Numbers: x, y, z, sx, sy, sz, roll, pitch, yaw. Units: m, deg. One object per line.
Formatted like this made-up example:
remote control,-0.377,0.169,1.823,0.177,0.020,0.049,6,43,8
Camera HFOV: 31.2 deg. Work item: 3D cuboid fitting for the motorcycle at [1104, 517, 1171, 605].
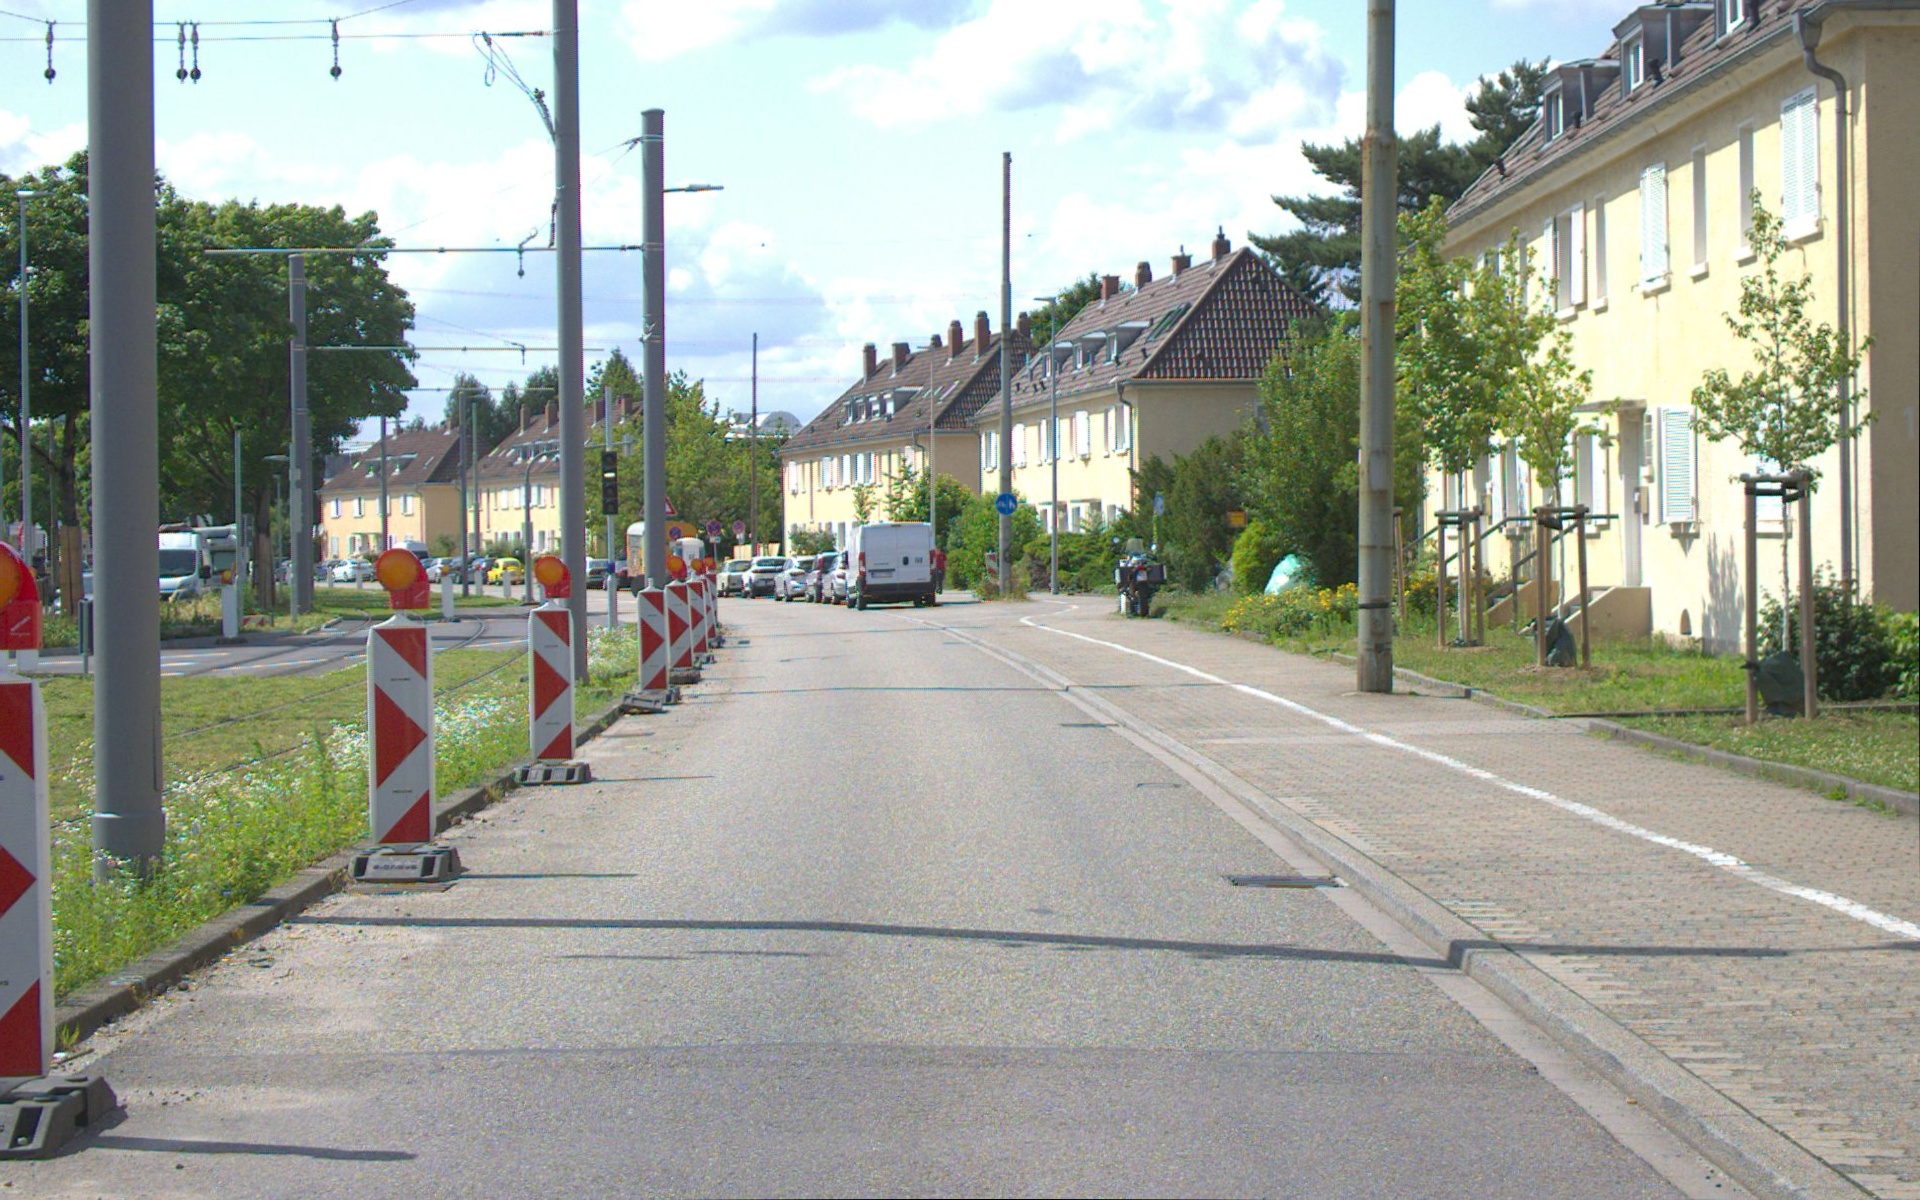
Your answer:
motorcycle,3.340,-0.734,64.915,1.066,1.630,2.084,-1,1,-2

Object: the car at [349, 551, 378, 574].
car,-38.165,-2.400,219.882,1.257,1.421,2.666,-1,1,-23

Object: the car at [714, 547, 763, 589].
car,-8.336,-1.210,129.357,1.567,1.546,3.479,-1,1,-8

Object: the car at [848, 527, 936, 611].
car,-1.830,-0.825,90.870,2.065,2.142,4.879,-1,1,-4

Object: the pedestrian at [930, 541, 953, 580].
pedestrian,-0.619,-1.286,112.493,0.632,1.250,0.727,-1,1,-10

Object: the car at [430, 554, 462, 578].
car,-30.056,-1.984,201.040,1.257,1.346,2.666,-1,1,-21

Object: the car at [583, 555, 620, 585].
car,-17.230,-1.428,165.167,1.257,1.421,2.666,-1,1,-18

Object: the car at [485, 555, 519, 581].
car,-25.329,-1.772,190.073,1.257,1.421,2.666,-1,1,-21

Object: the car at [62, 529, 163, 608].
car,-19.611,-0.731,79.718,2.093,1.770,4.122,-1,1,-12

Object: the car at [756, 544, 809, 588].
car,-6.368,-1.209,123.116,1.567,1.546,3.479,-1,1,-8

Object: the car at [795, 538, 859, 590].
car,-4.099,-1.119,105.570,1.567,1.546,3.790,-1,1,-8

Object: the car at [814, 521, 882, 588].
car,-3.294,-1.318,100.356,1.567,1.891,3.790,-1,1,-8

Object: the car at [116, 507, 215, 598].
car,-21.028,-1.260,91.105,2.406,2.330,4.881,-1,1,-12

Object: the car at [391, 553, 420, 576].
car,-33.806,-2.165,209.410,1.165,1.421,2.666,-1,1,-22

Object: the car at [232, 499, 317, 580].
car,-20.605,-1.826,103.289,2.406,2.362,4.881,-1,1,-12

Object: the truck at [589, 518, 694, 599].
truck,-14.201,-1.831,152.748,2.639,3.482,9.440,-1,1,-18

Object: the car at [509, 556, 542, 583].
car,-23.448,-1.650,185.462,1.257,1.421,2.666,-1,1,-19

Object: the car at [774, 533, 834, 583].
car,-5.073,-1.358,111.165,1.567,1.546,3.790,-1,1,-8
